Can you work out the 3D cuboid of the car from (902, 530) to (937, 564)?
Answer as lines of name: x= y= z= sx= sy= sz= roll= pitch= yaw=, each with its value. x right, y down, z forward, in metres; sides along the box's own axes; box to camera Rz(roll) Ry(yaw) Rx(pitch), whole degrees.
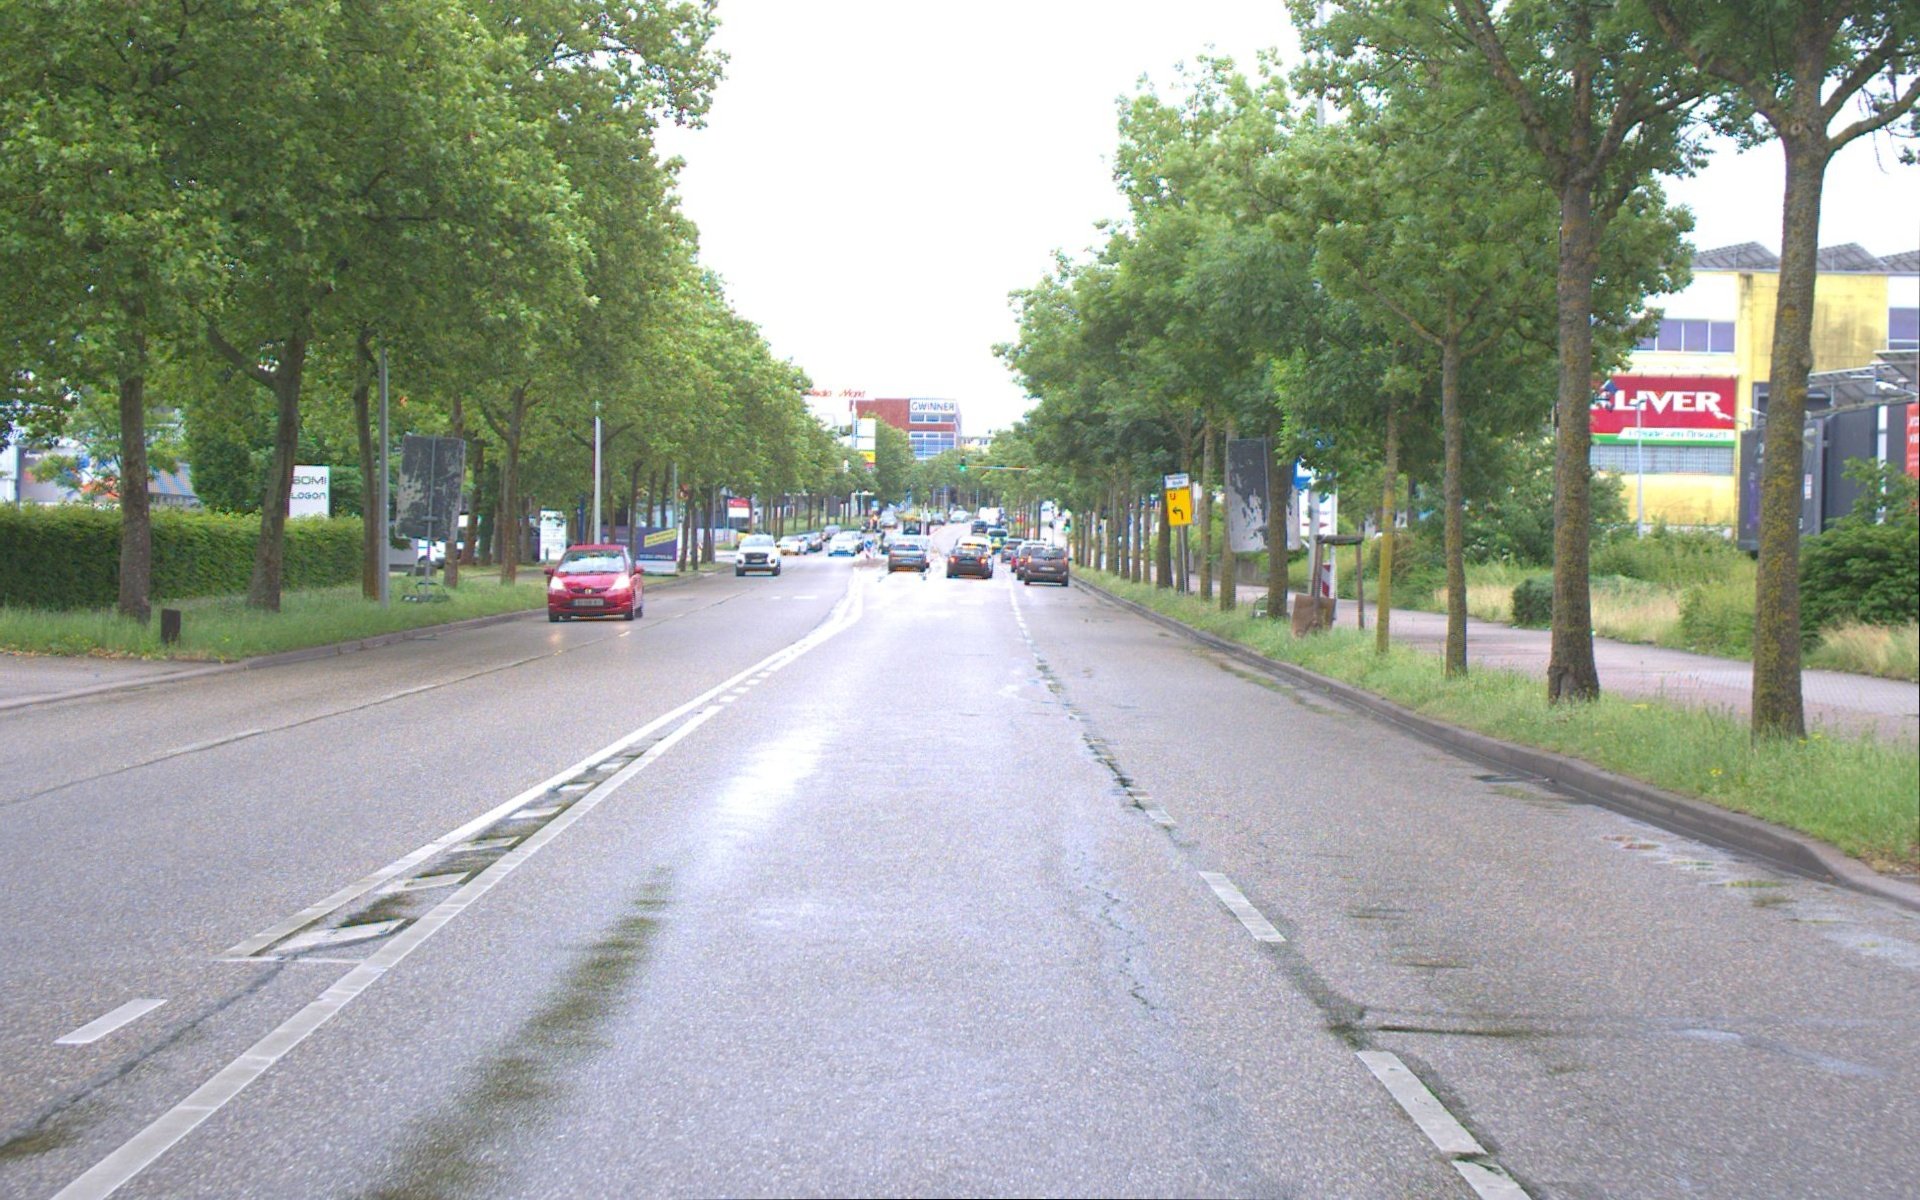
car: x=-2.261 y=-2.951 z=192.020 sx=1.891 sy=1.870 sz=4.124 roll=0 pitch=1 yaw=0

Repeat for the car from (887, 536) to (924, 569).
car: x=-2.789 y=-2.472 z=177.274 sx=1.745 sy=1.695 sz=4.000 roll=0 pitch=1 yaw=2

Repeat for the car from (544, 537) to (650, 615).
car: x=-7.282 y=-0.500 z=69.277 sx=1.726 sy=1.512 sz=3.821 roll=0 pitch=1 yaw=0

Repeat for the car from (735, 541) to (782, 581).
car: x=-8.915 y=-1.734 z=152.532 sx=1.704 sy=1.731 sz=4.000 roll=0 pitch=1 yaw=3

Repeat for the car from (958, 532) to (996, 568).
car: x=0.845 y=-2.458 z=167.974 sx=1.745 sy=1.731 sz=4.000 roll=0 pitch=1 yaw=2

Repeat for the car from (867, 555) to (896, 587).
car: x=-4.994 y=-1.889 z=219.339 sx=1.827 sy=2.007 sz=4.000 roll=0 pitch=1 yaw=-2

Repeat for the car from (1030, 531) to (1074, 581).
car: x=3.753 y=-1.813 z=140.360 sx=1.745 sy=2.007 sz=4.000 roll=0 pitch=1 yaw=2

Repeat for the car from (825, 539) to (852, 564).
car: x=-8.484 y=-3.357 z=239.835 sx=1.827 sy=1.722 sz=4.000 roll=0 pitch=1 yaw=-2

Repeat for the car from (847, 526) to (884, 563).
car: x=-5.229 y=-3.060 z=190.382 sx=1.993 sy=2.007 sz=4.000 roll=0 pitch=1 yaw=0

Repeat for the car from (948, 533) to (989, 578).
car: x=0.407 y=-2.003 z=154.634 sx=1.745 sy=2.007 sz=4.000 roll=0 pitch=1 yaw=2

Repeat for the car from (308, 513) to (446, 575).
car: x=-18.161 y=-1.731 z=107.182 sx=3.987 sy=1.918 sz=1.826 roll=0 pitch=0 yaw=1
